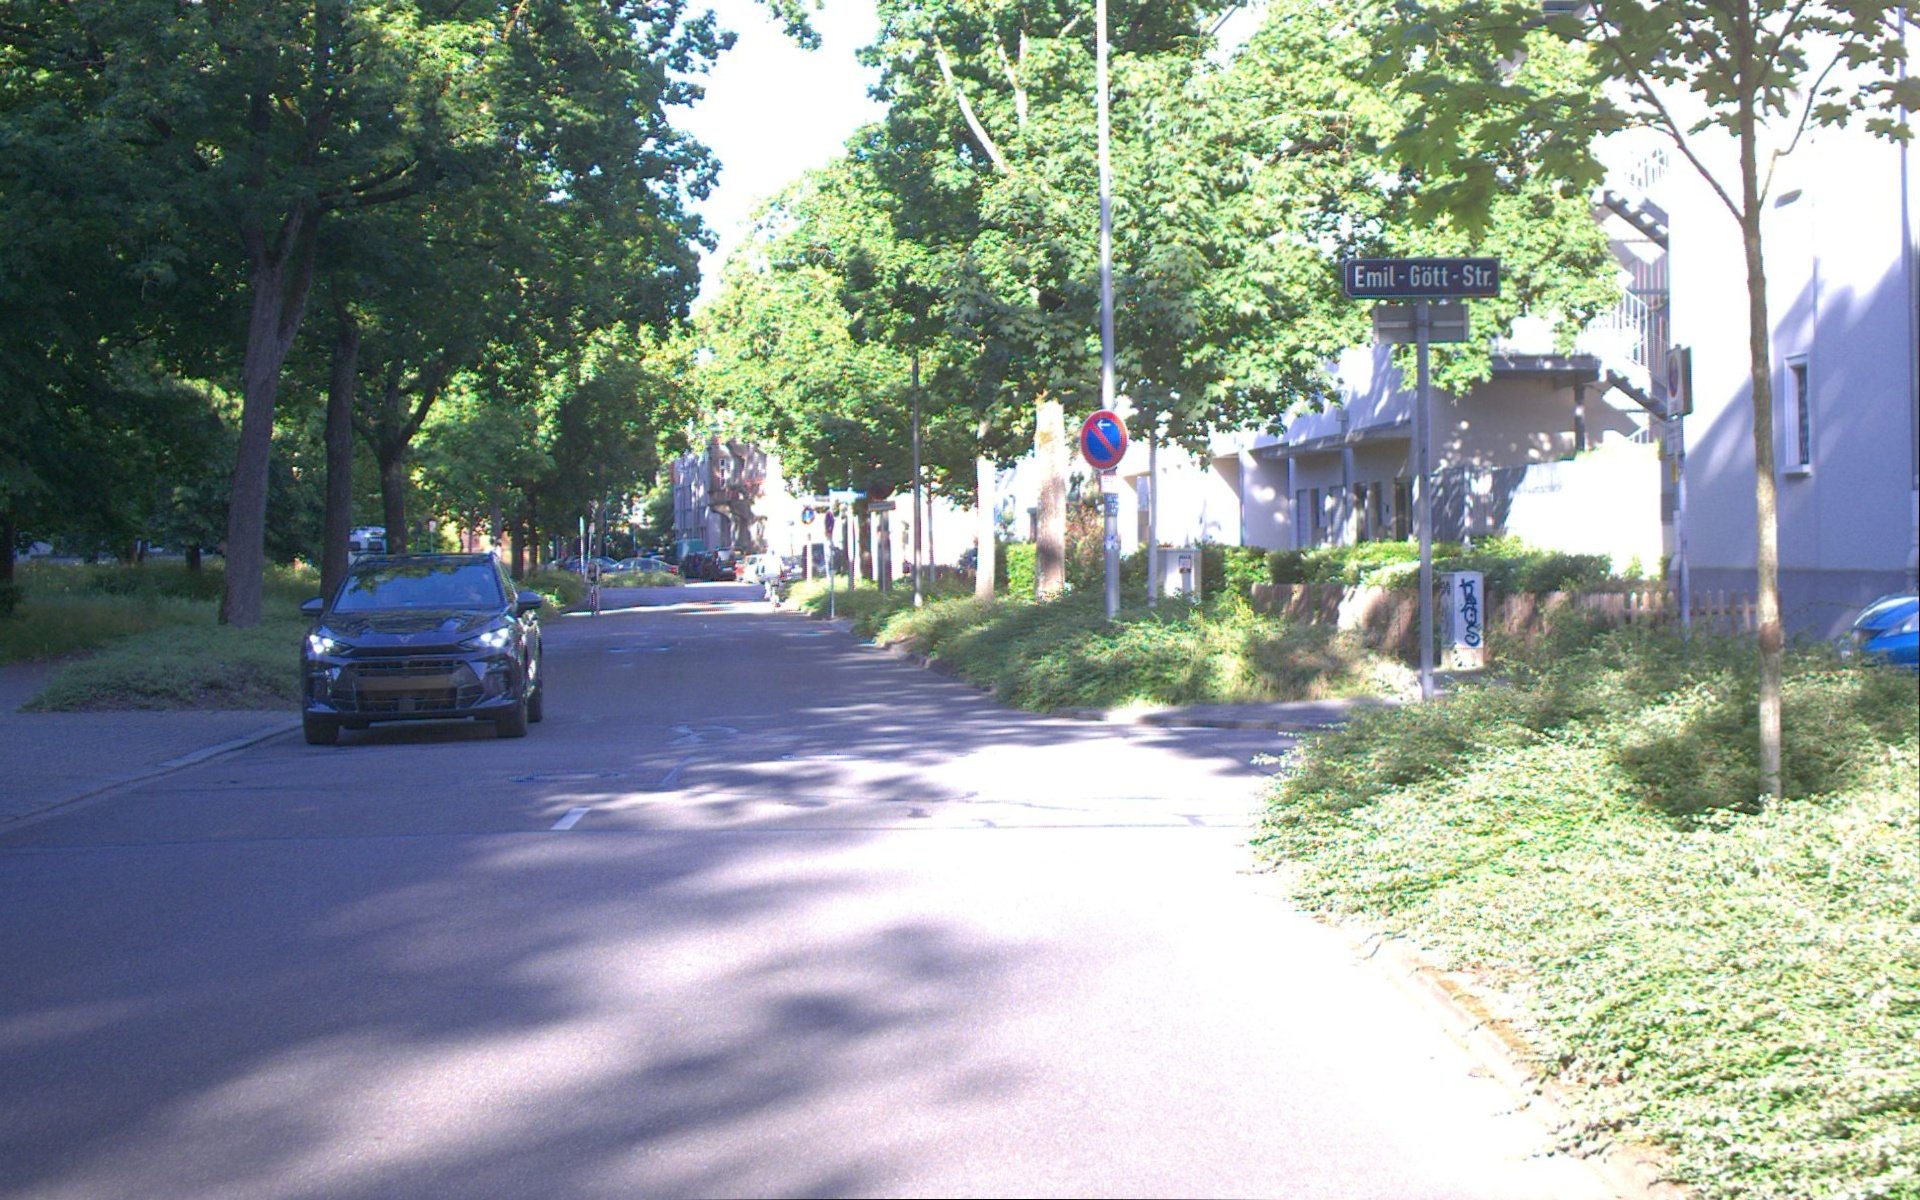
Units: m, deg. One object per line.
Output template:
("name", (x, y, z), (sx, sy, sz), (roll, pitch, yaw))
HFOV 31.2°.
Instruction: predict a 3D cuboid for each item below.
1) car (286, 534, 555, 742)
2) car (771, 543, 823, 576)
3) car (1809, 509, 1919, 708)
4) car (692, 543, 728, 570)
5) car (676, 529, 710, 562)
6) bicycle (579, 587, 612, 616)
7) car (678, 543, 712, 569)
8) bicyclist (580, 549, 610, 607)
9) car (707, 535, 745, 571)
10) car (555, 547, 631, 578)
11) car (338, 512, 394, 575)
("car", (-4.573, 0.264, 29.697), (1.844, 1.573, 4.336), (-2, 2, -3))
("car", (-7.707, -1.928, 162.087), (1.811, 1.496, 4.001), (-1, 1, -12))
("car", (9.347, 0.023, 28.765), (3.986, 1.576, 1.810), (-1, 2, -5))
("car", (-14.452, -2.523, 198.510), (1.811, 1.496, 4.001), (1, 1, -8))
("car", (-16.709, -3.396, 215.133), (1.811, 2.043, 4.001), (1, 1, -8))
("bicycle", (-9.899, 0.033, 93.420), (0.639, 0.739, 2.126), (-2, 1, 0))
("car", (-15.808, -2.611, 204.968), (1.811, 1.496, 4.001), (1, 1, -8))
("bicyclist", (-9.921, -0.600, 93.420), (0.633, 1.549, 1.002), (-2, 1, 0))
("car", (-12.991, -2.609, 190.450), (1.811, 1.919, 4.001), (1, 1, -8))
("car", (-18.334, -1.875, 171.678), (3.586, 1.505, 1.500), (1, 1, -12))
("car", (-23.754, -2.252, 137.421), (1.993, 2.499, 4.001), (0, 1, -13))
